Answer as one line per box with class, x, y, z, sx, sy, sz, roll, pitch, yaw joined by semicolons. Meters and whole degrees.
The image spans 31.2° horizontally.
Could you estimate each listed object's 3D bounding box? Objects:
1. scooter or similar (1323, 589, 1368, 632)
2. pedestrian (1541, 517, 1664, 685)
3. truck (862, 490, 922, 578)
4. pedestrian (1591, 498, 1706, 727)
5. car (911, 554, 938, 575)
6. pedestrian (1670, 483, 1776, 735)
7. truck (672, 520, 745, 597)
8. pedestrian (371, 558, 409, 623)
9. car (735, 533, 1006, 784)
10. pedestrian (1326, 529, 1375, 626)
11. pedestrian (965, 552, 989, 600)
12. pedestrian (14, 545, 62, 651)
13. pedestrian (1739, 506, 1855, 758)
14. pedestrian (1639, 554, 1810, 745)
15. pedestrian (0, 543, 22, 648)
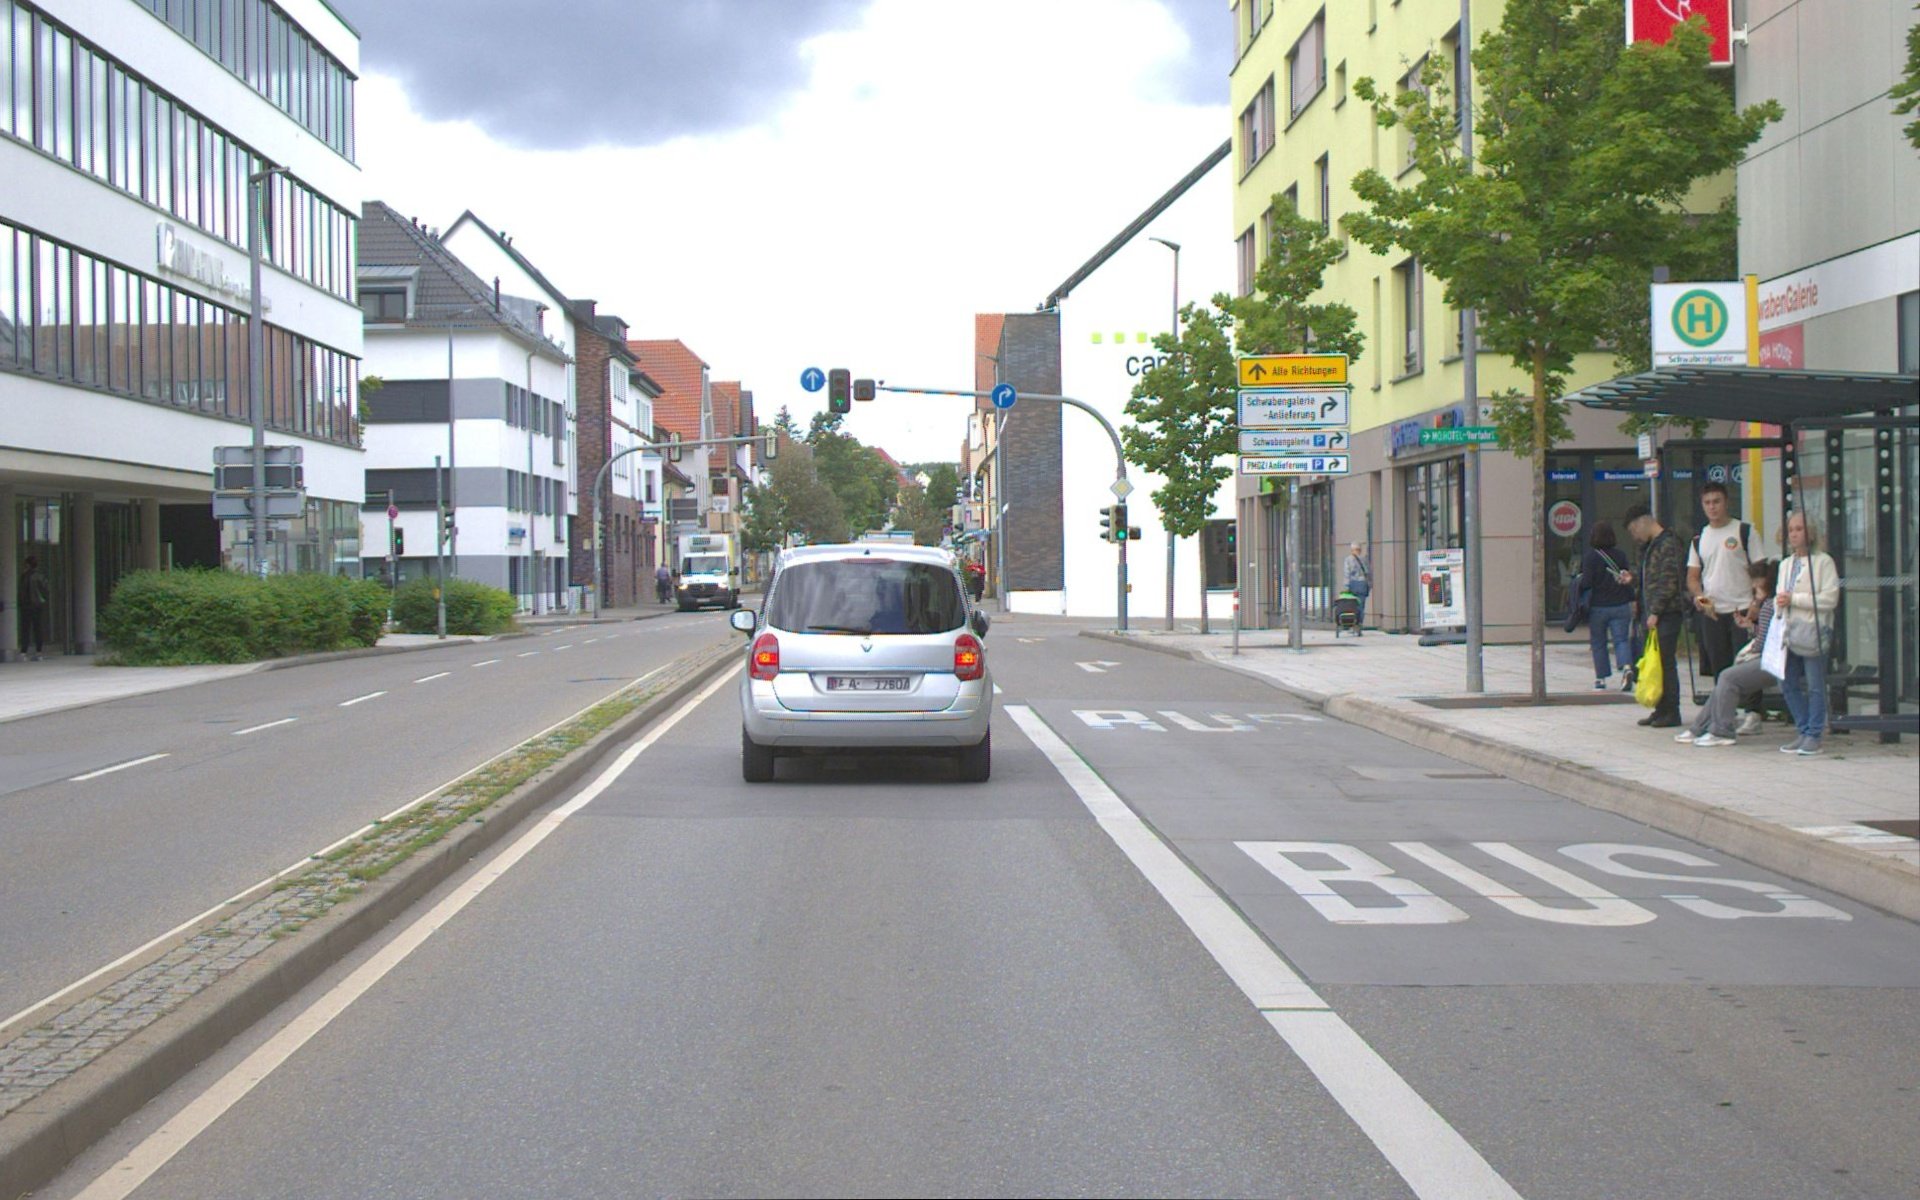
scooter or similar;6.356;0.176;56.718;0.592;0.670;0.824;-2;1;-2
pedestrian;6.167;0.006;33.062;0.947;1.578;1.016;-1;1;-2
truck;-3.033;-2.962;154.631;2.595;3.844;6.849;0;1;-1
pedestrian;5.177;0.088;25.869;0.721;1.678;0.732;-2;1;4
car;-2.402;-2.421;235.521;1.812;1.349;4.000;-1;1;0
pedestrian;5.467;0.058;24.649;0.579;1.763;0.856;-2;1;4
truck;-9.867;-1.631;135.474;2.435;2.943;8.365;0;1;-1
pedestrian;-14.987;-0.245;90.478;0.881;1.664;0.814;0;3;-3
car;-0.620;0.347;24.083;1.706;1.573;4.000;1;1;-1
pedestrian;6.520;-0.383;57.437;0.695;1.588;0.603;-2;1;-2
pedestrian;0.631;-0.923;131.218;0.807;1.781;0.861;-3;1;0
pedestrian;-15.005;-0.040;55.964;0.613;1.704;0.506;-1;1;-31
pedestrian;5.406;0.200;22.226;0.579;1.585;0.732;-2;1;4
pedestrian;5.214;0.326;23.477;0.942;1.255;0.733;-2;1;-4
pedestrian;-15.829;-0.076;56.452;0.505;1.724;0.614;0;1;30
